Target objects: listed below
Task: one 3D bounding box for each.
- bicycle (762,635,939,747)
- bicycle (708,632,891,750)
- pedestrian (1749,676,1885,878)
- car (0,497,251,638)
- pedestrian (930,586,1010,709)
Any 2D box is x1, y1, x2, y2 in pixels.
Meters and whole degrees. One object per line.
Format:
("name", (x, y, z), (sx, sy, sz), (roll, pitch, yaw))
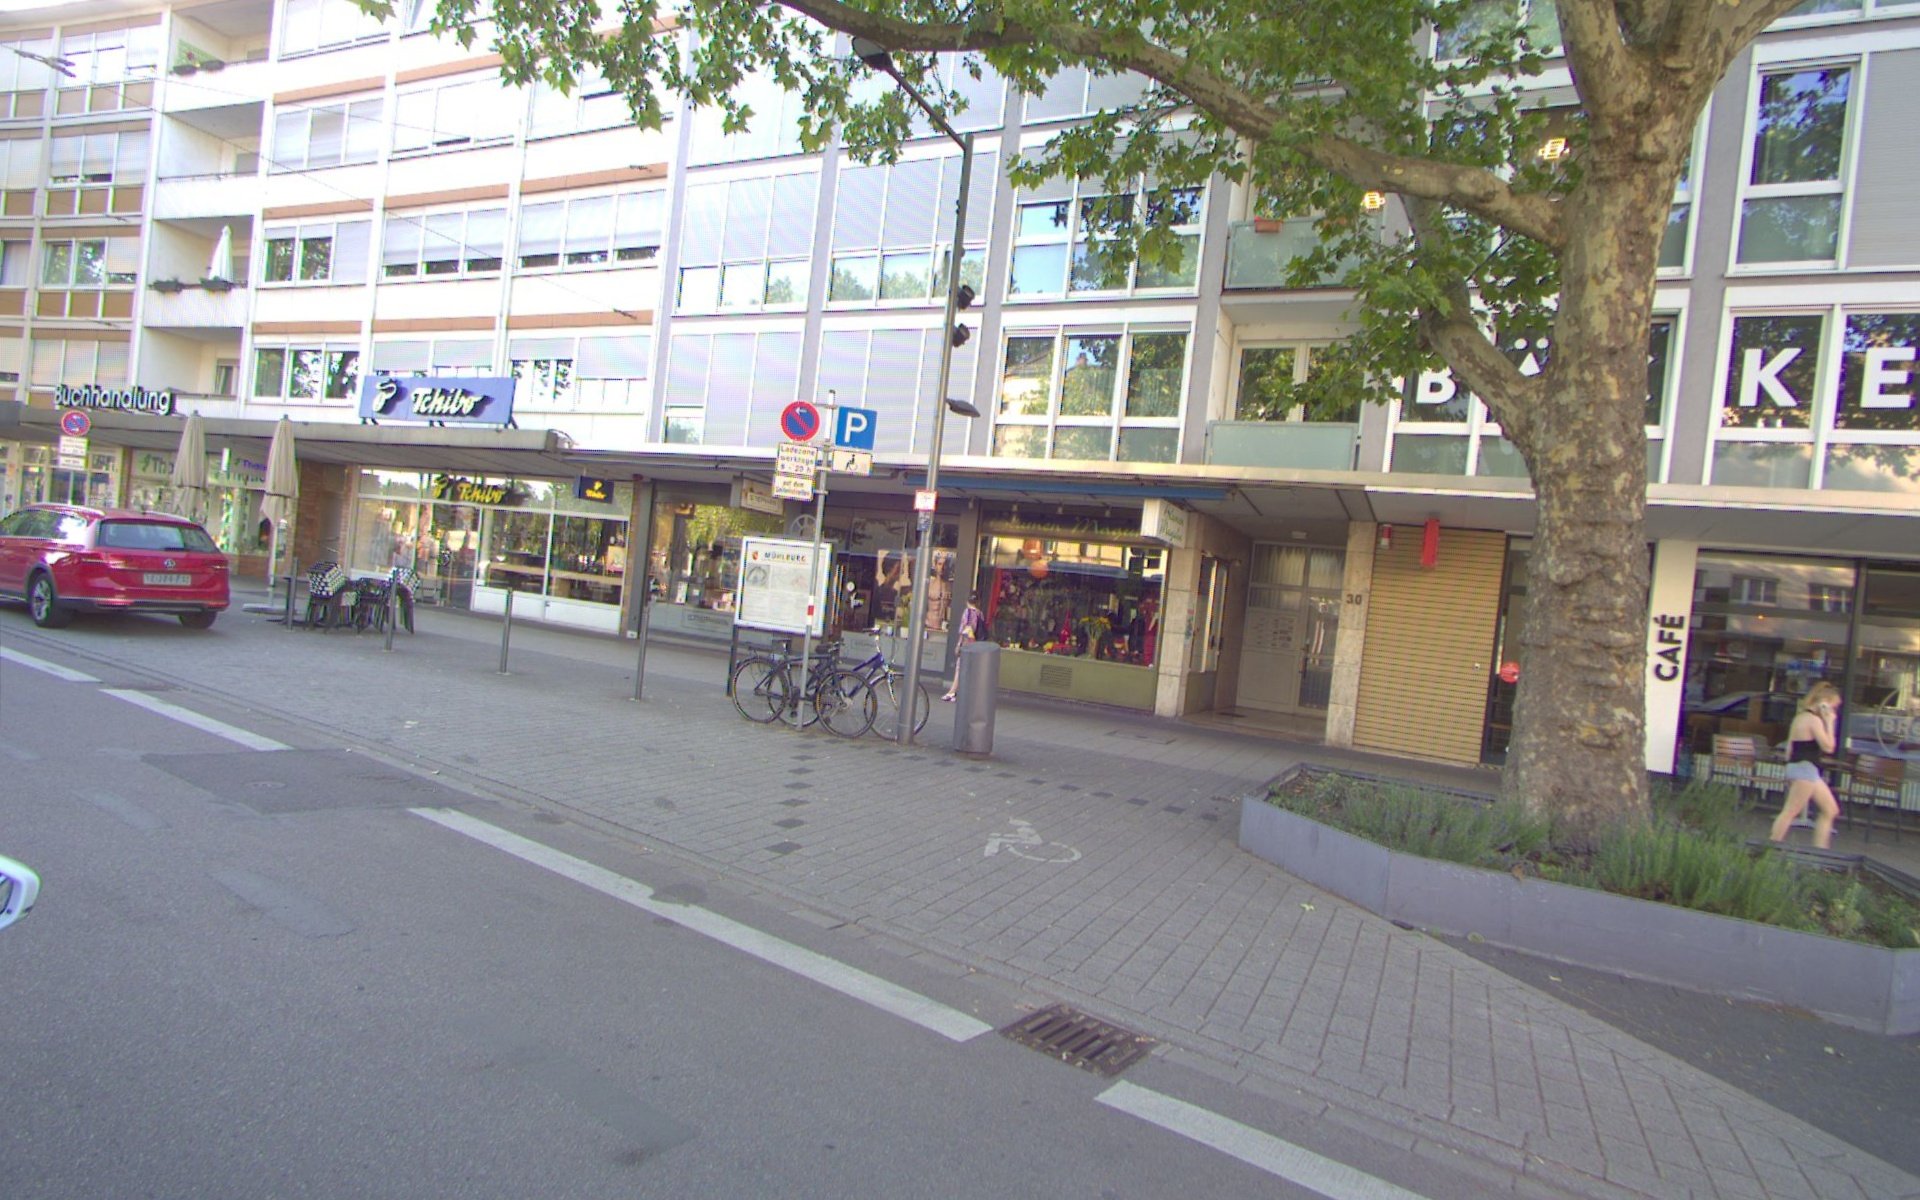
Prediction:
("bicycle", (-1.150, 0.937, 10.564), (1.743, 0.931, 0.391), (6, 2, 12))
("bicycle", (-1.629, 0.904, 10.220), (1.743, 0.951, 0.391), (6, 2, 12))
("pedestrian", (7.383, 1.494, 8.698), (0.631, 1.596, 0.560), (7, 1, 26))
("car", (-11.646, -0.489, 13.456), (4.229, 1.502, 1.772), (6, 1, 28))
("pedestrian", (0.146, 0.650, 14.163), (0.776, 1.613, 0.651), (7, 3, 26))
